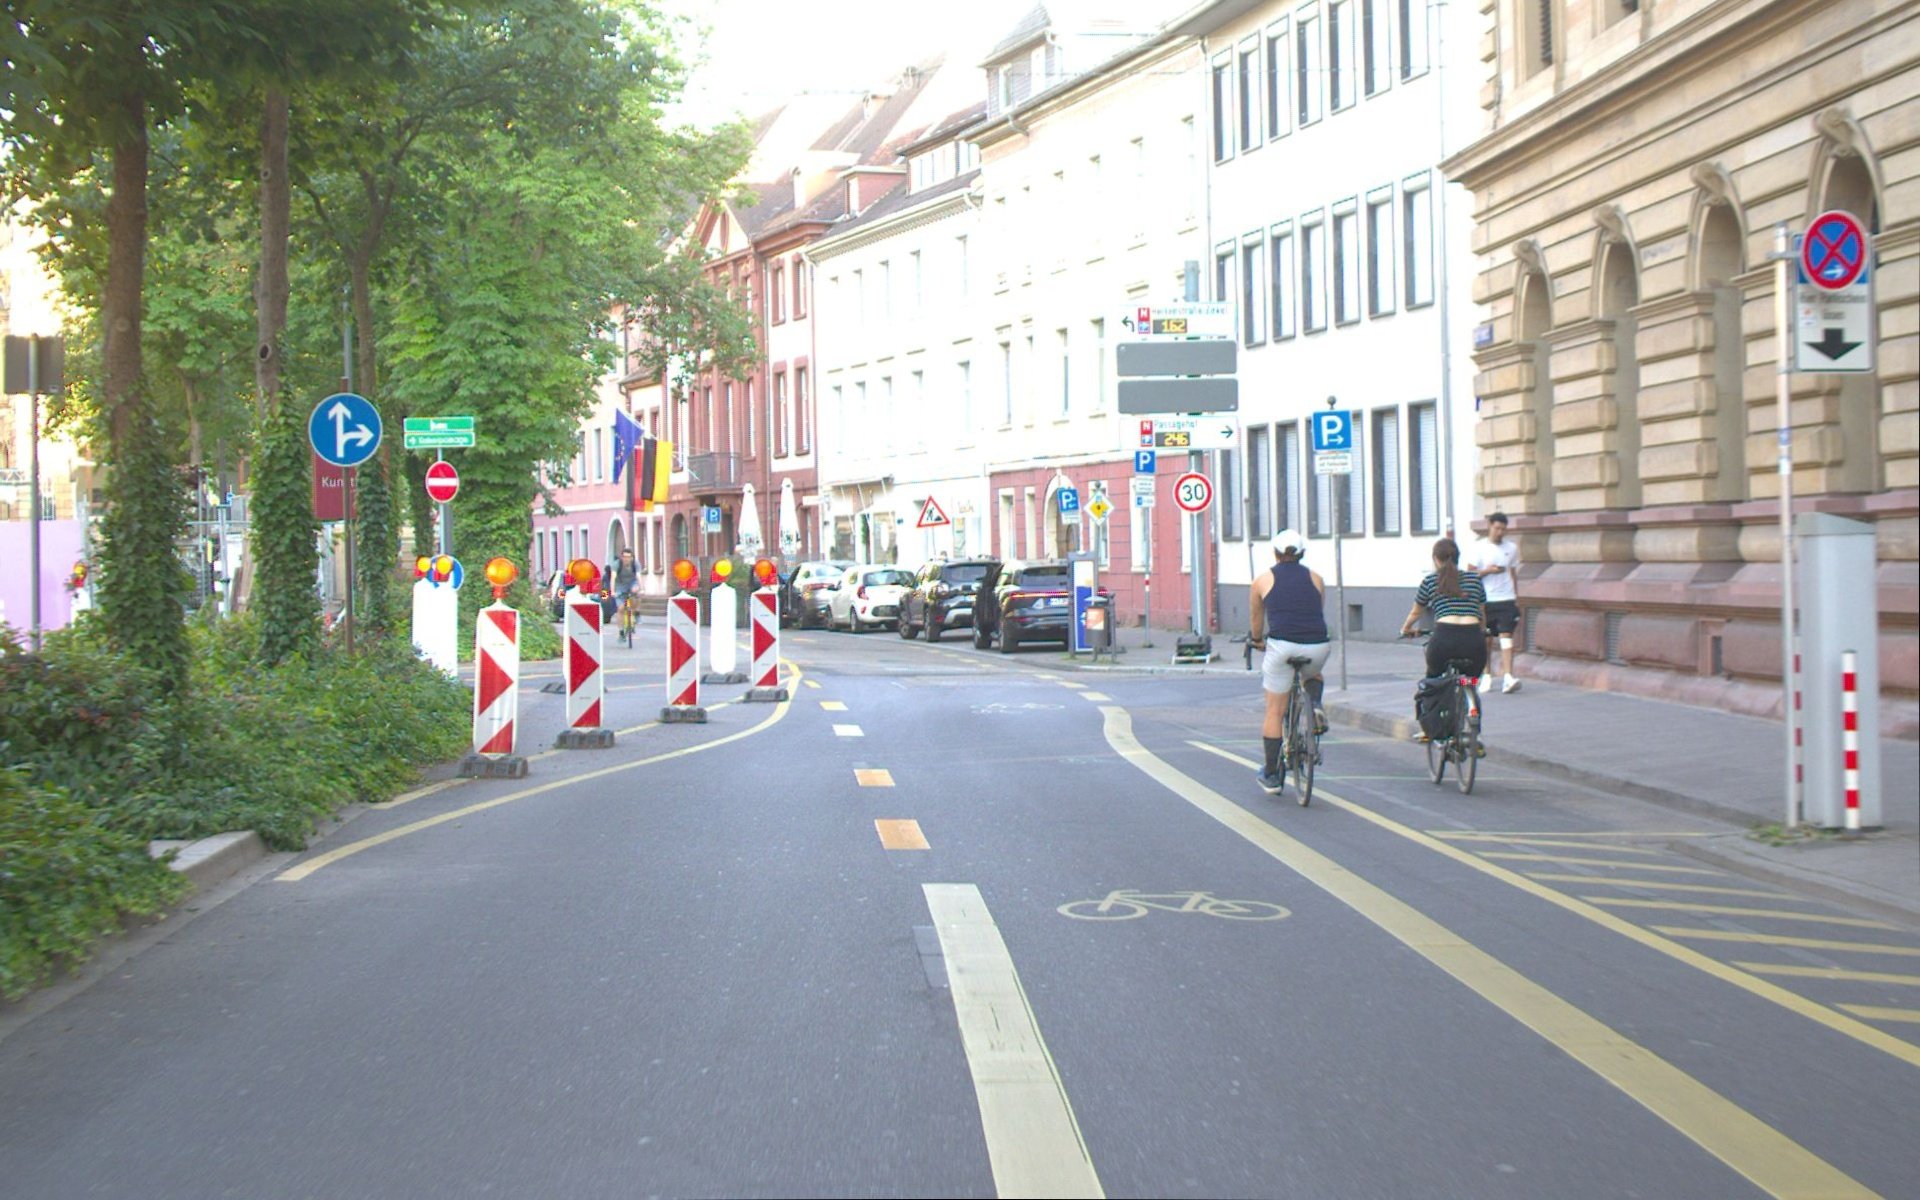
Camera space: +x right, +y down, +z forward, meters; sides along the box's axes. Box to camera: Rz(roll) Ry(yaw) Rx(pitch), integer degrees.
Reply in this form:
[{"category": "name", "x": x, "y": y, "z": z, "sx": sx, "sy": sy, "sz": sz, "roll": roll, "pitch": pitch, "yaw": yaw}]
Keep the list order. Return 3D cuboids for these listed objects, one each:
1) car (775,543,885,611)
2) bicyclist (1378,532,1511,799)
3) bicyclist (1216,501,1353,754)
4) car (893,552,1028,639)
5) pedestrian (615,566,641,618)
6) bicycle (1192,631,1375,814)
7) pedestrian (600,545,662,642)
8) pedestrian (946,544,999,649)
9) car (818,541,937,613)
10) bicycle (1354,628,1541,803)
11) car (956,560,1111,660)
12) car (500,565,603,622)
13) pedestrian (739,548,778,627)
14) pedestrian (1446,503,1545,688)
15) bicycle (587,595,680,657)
[{"category": "car", "x": -3.093, "y": -0.542, "z": 81.123, "sx": 1.812, "sy": 1.554, "sz": 3.866, "roll": -1, "pitch": 1, "yaw": -14}, {"category": "bicyclist", "x": 3.240, "y": 0.425, "z": 23.057, "sx": 0.649, "sy": 1.754, "sz": 0.864, "roll": 1, "pitch": 1, "yaw": -7}, {"category": "bicyclist", "x": 2.039, "y": 0.171, "z": 21.663, "sx": 0.668, "sy": 1.560, "sz": 0.699, "roll": 1, "pitch": 0, "yaw": -9}, {"category": "car", "x": -0.017, "y": -0.102, "z": 68.733, "sx": 1.812, "sy": 1.678, "sz": 4.001, "roll": -1, "pitch": 1, "yaw": -13}, {"category": "pedestrian", "x": -11.135, "y": -0.268, "z": 115.283, "sx": 0.750, "sy": 1.756, "sz": 0.586, "roll": -1, "pitch": 0, "yaw": -16}, {"category": "bicycle", "x": 2.019, "y": 0.748, "z": 21.693, "sx": 0.669, "sy": 1.067, "sz": 1.902, "roll": 0, "pitch": 0, "yaw": -10}, {"category": "pedestrian", "x": -5.699, "y": -0.118, "z": 59.635, "sx": 0.736, "sy": 1.668, "sz": 0.894, "roll": -1, "pitch": 1, "yaw": 20}, {"category": "pedestrian", "x": 0.224, "y": -0.068, "z": 61.293, "sx": 0.900, "sy": 1.859, "sz": 0.932, "roll": -1, "pitch": 0, "yaw": -1}, {"category": "car", "x": -1.874, "y": -0.515, "z": 76.617, "sx": 1.812, "sy": 1.554, "sz": 3.866, "roll": -1, "pitch": 1, "yaw": -14}, {"category": "bicycle", "x": 3.246, "y": 0.751, "z": 23.104, "sx": 0.652, "sy": 1.067, "sz": 2.258, "roll": 1, "pitch": 0, "yaw": -7}, {"category": "car", "x": 1.258, "y": 0.150, "z": 60.746, "sx": 1.812, "sy": 1.676, "sz": 3.920, "roll": -1, "pitch": 1, "yaw": -13}, {"category": "car", "x": -11.698, "y": -0.190, "z": 98.183, "sx": 1.812, "sy": 1.554, "sz": 3.865, "roll": -1, "pitch": 1, "yaw": -24}, {"category": "pedestrian", "x": -4.738, "y": -0.299, "z": 80.903, "sx": 0.831, "sy": 1.838, "sz": 0.958, "roll": 0, "pitch": 1, "yaw": 2}, {"category": "pedestrian", "x": 5.193, "y": -0.053, "z": 33.382, "sx": 0.817, "sy": 1.759, "sz": 1.038, "roll": 0, "pitch": 1, "yaw": 2}, {"category": "bicycle", "x": -5.662, "y": 0.443, "z": 59.728, "sx": 0.761, "sy": 1.034, "sz": 2.118, "roll": -1, "pitch": 1, "yaw": 20}]
